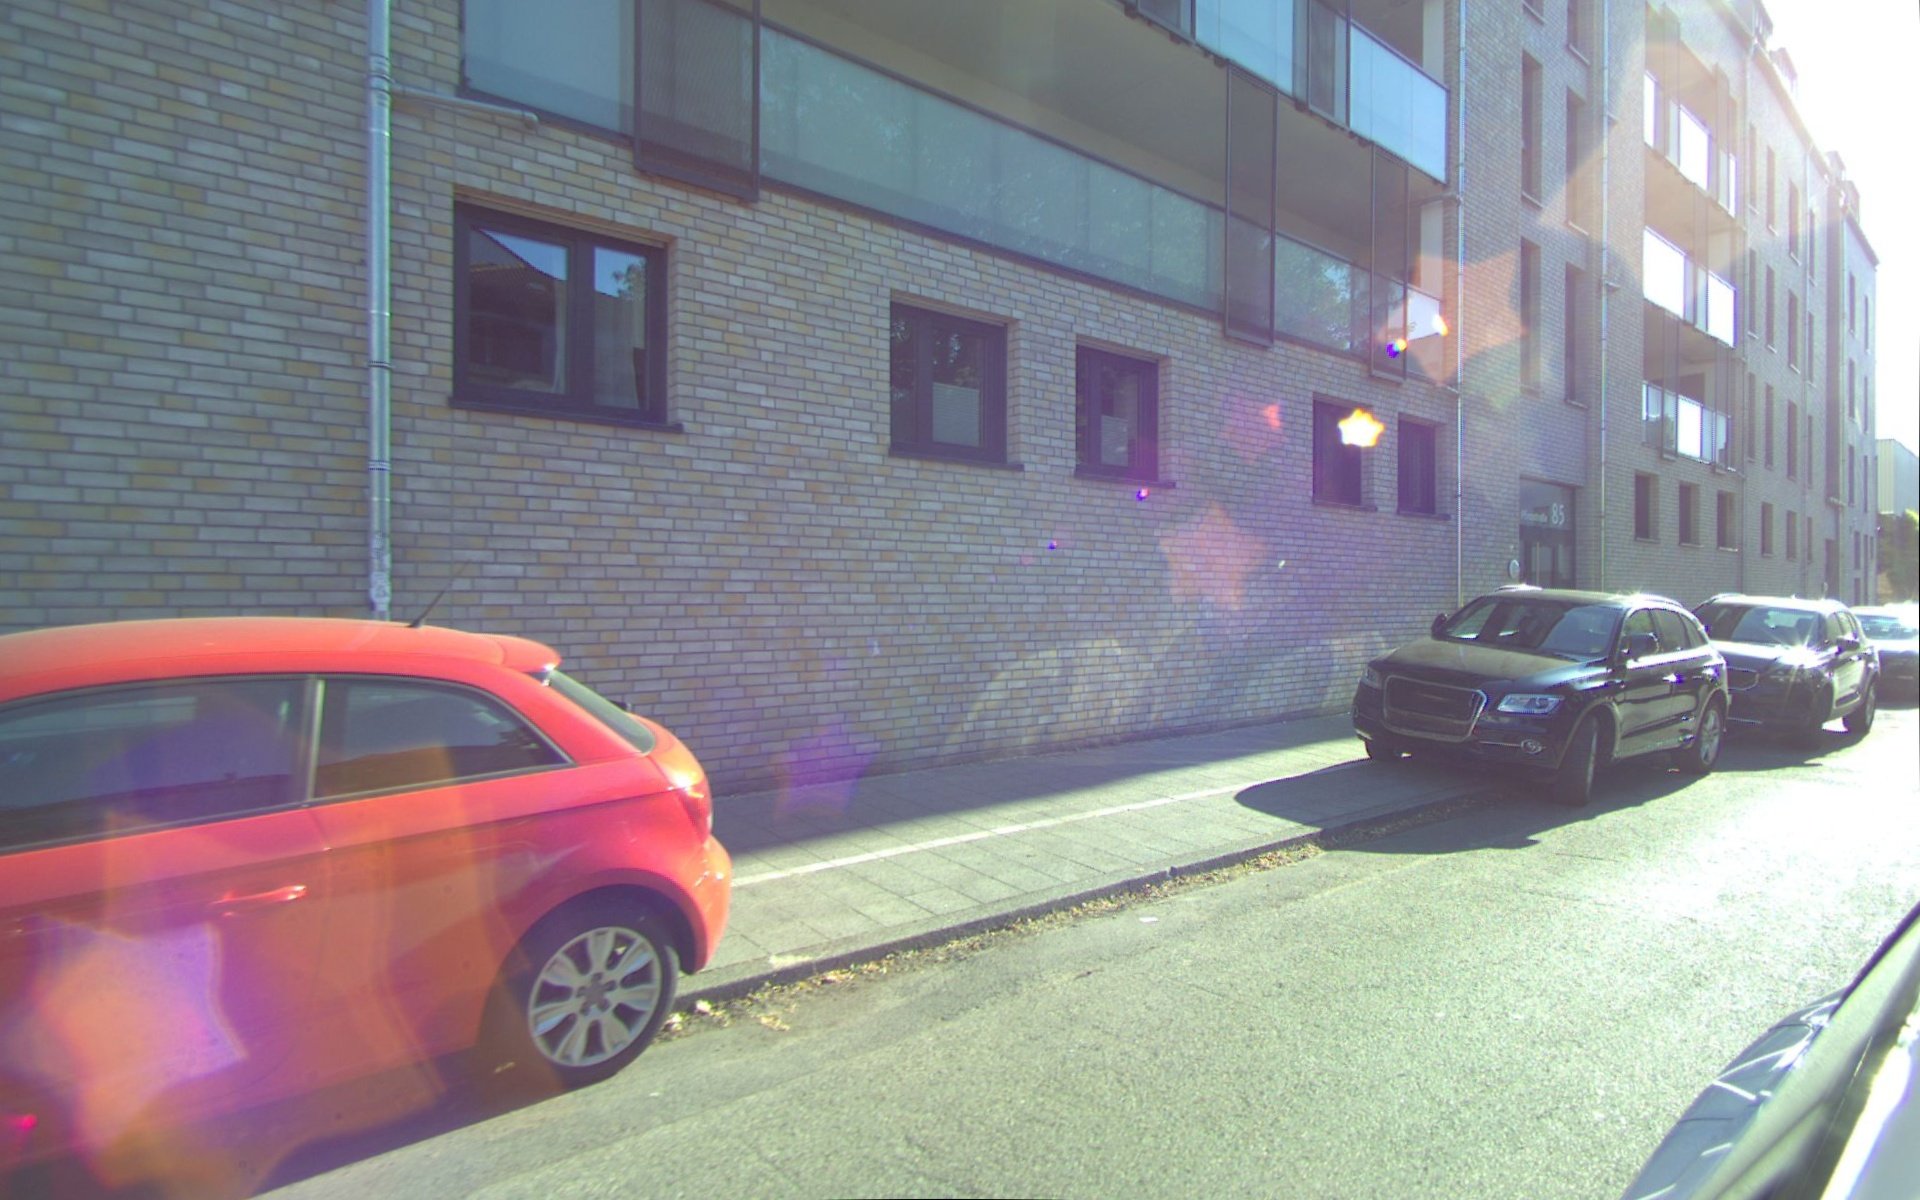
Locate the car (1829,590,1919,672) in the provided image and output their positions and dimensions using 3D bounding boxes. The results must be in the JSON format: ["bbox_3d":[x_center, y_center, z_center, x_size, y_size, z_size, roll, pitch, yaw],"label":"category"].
[{"bbox_3d":[19.876,0.592,21.508,4.148,1.535,1.666,-1,2,-43],"label":"car"}]

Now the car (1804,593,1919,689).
[{"bbox_3d":[16.671,0.644,18.241,4.641,1.485,1.698,-1,2,-44],"label":"car"}]

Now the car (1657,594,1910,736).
[{"bbox_3d":[10.503,0.676,12.797,4.196,1.485,1.819,-1,1,-41],"label":"car"}]

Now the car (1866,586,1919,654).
[{"bbox_3d":[24.205,0.473,25.305,4.545,1.548,1.729,-1,4,-41],"label":"car"}]

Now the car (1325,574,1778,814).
[{"bbox_3d":[5.651,0.691,9.448,4.683,1.734,1.896,0,0,-35],"label":"car"}]

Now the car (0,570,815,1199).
[{"bbox_3d":[-2.614,0.660,3.018,4.001,1.421,1.717,0,4,-40],"label":"car"}]

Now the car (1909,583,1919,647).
[{"bbox_3d":[28.222,0.395,28.637,4.757,1.755,1.669,-1,1,-43],"label":"car"}]
